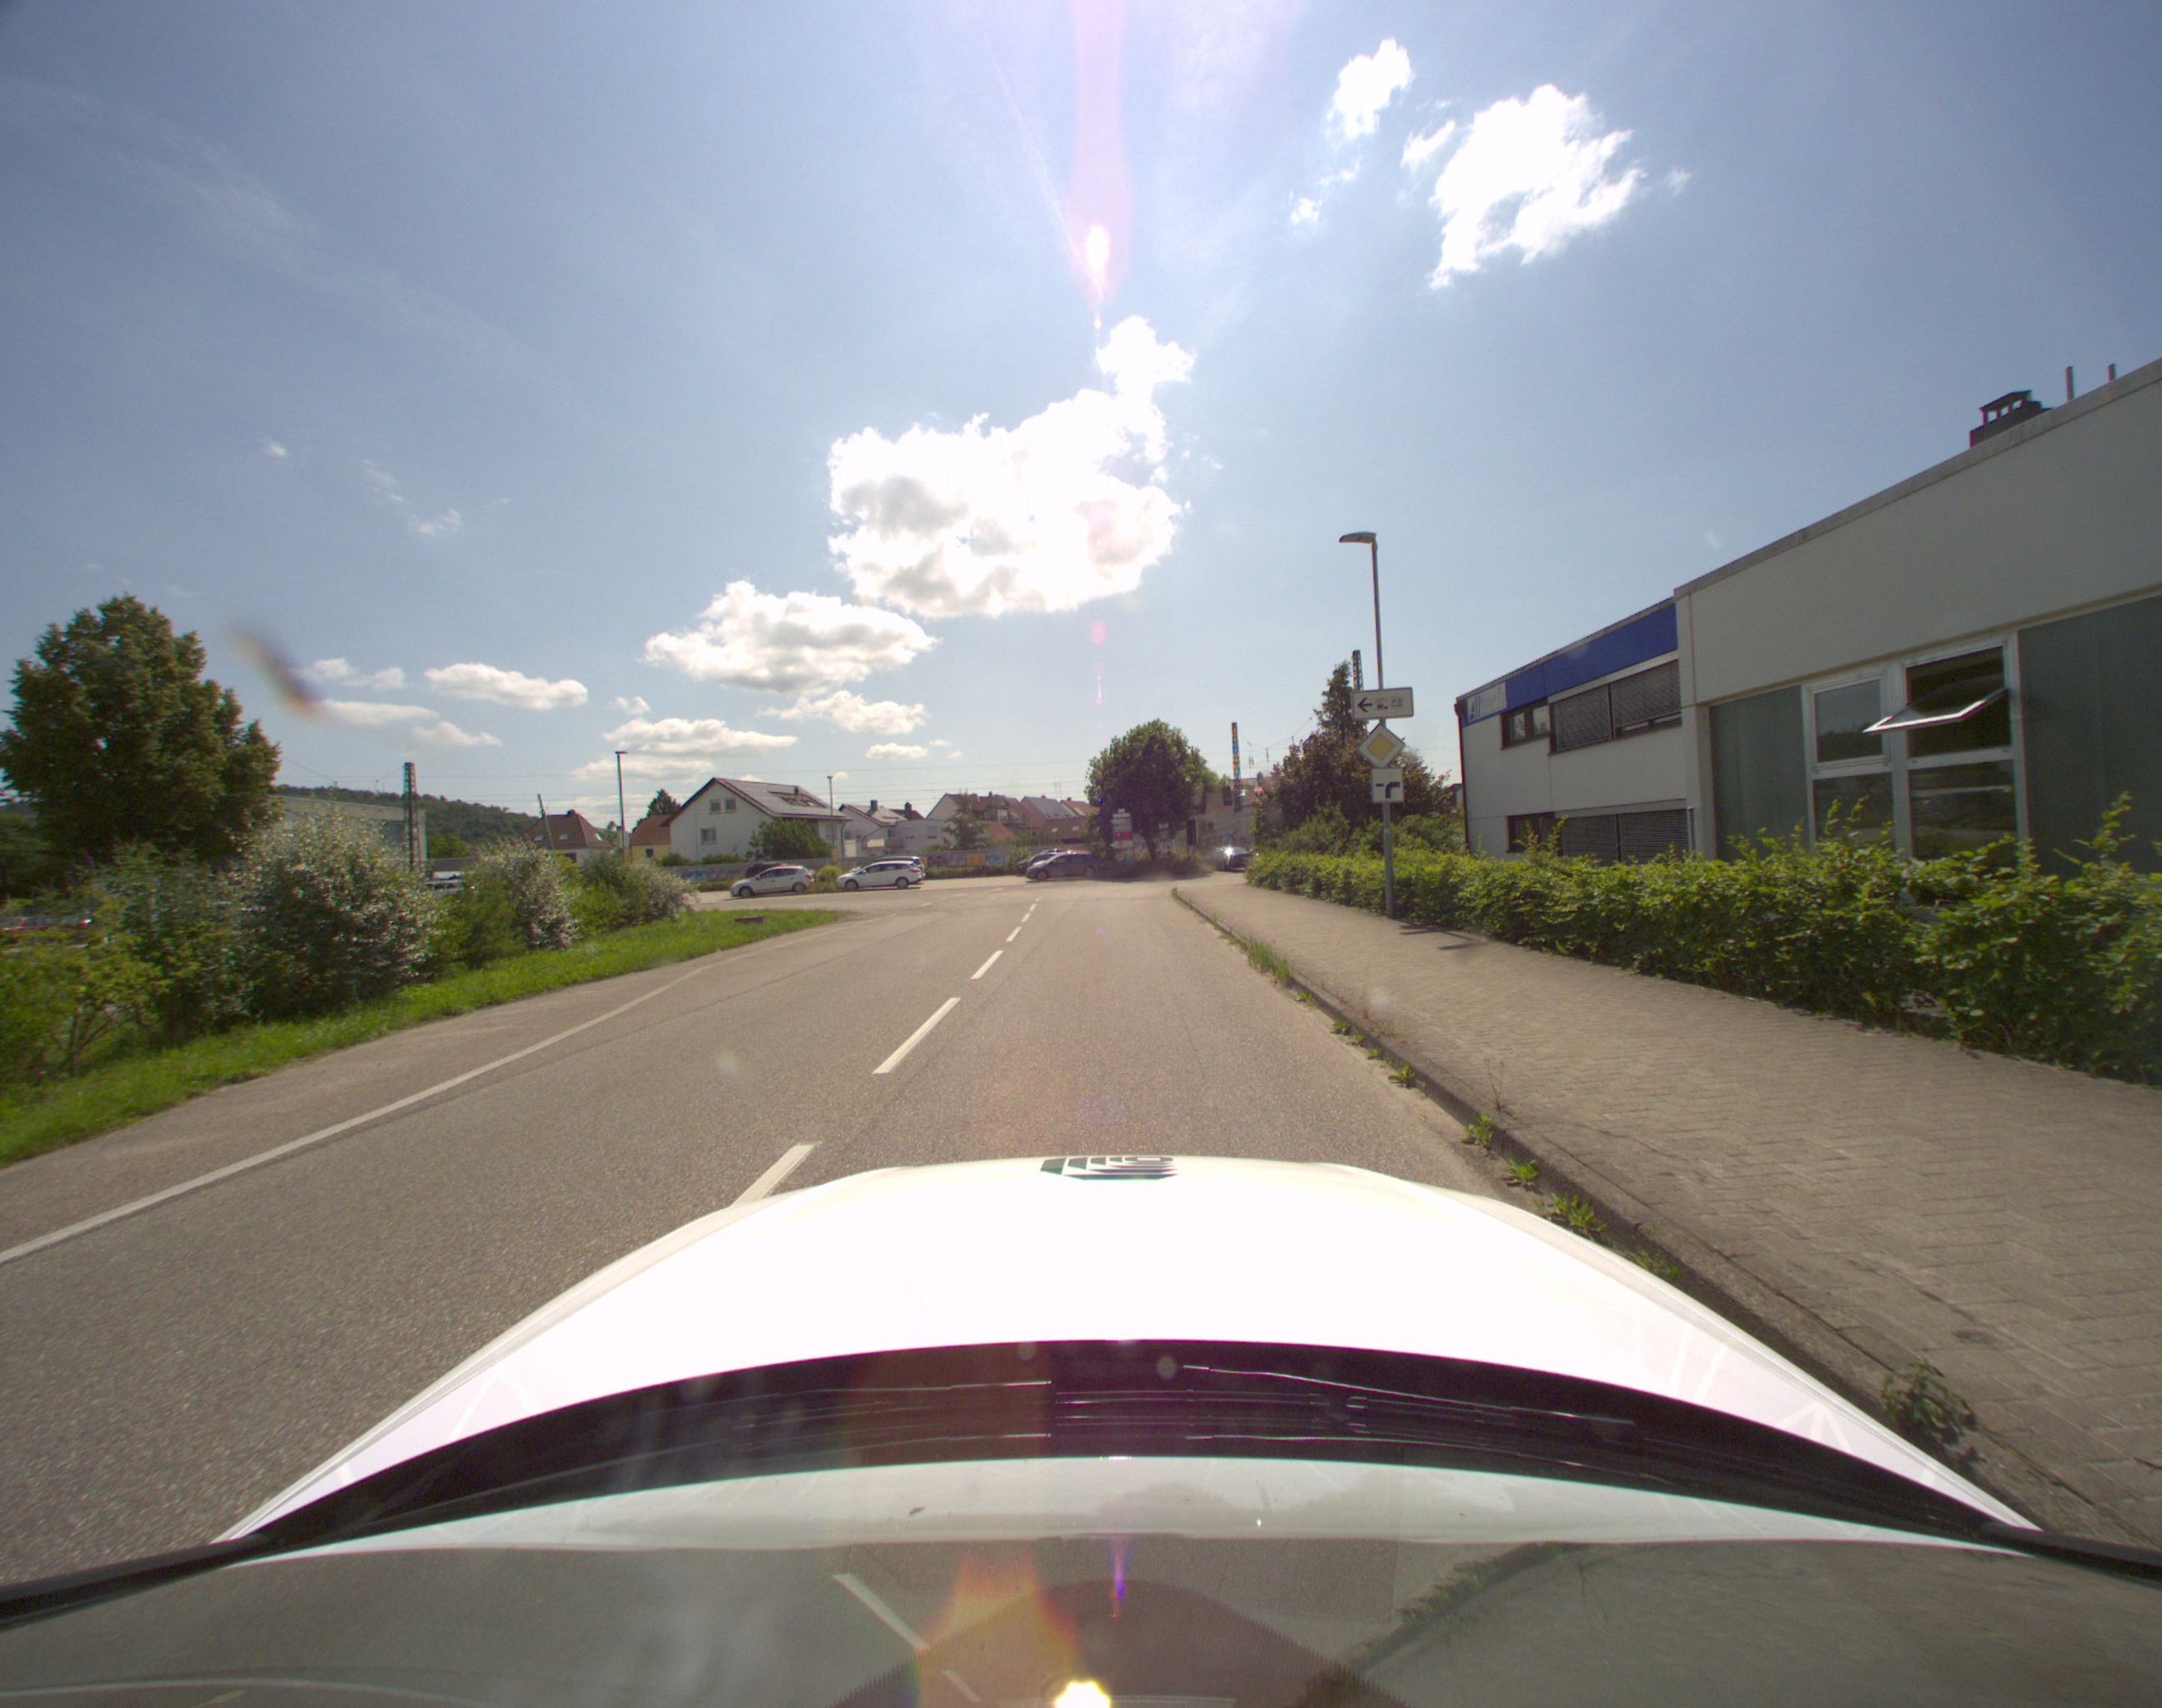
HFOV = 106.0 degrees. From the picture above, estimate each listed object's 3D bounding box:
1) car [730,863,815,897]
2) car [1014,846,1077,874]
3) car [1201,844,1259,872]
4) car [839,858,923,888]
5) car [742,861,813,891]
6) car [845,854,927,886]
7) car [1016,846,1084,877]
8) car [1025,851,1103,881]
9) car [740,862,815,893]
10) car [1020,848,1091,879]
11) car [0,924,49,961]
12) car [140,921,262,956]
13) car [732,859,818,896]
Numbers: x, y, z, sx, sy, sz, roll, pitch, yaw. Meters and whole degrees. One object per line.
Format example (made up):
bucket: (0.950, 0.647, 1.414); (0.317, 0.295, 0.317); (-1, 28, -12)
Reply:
car: (-16.270, 1.349, 43.174); (4.009, 1.562, 1.813); (-3, 0, -16)
car: (-2.370, 0.370, 53.313); (3.984, 1.730, 1.765); (-1, -1, -8)
car: (8.863, 0.206, 48.719); (1.756, 1.386, 3.977); (-1, 3, -18)
car: (-10.777, 1.024, 44.138); (4.283, 1.477, 1.821); (-1, -1, -10)
car: (-18.582, 1.314, 50.008); (3.836, 1.589, 1.490); (-3, 0, -14)
car: (-11.620, 0.917, 48.761); (4.447, 1.690, 1.996); (-2, 1, -7)
car: (-1.957, 0.472, 50.735); (3.984, 1.657, 1.995); (-3, 0, -8)
car: (-0.974, 0.675, 45.741); (4.183, 1.463, 1.661); (-2, -1, -7)
car: (-17.742, 1.340, 47.716); (3.785, 1.558, 1.688); (-3, 0, -12)
car: (-1.533, 0.571, 48.008); (3.984, 1.586, 1.775); (-3, -1, -7)
car: (-50.934, 4.198, 37.441); (3.989, 1.503, 1.884); (-3, 0, -11)
car: (-43.833, 4.197, 40.640); (3.986, 1.313, 1.530); (-3, 0, -9)
car: (-16.901, 1.282, 45.194); (4.168, 1.638, 1.945); (-5, 0, -15)
